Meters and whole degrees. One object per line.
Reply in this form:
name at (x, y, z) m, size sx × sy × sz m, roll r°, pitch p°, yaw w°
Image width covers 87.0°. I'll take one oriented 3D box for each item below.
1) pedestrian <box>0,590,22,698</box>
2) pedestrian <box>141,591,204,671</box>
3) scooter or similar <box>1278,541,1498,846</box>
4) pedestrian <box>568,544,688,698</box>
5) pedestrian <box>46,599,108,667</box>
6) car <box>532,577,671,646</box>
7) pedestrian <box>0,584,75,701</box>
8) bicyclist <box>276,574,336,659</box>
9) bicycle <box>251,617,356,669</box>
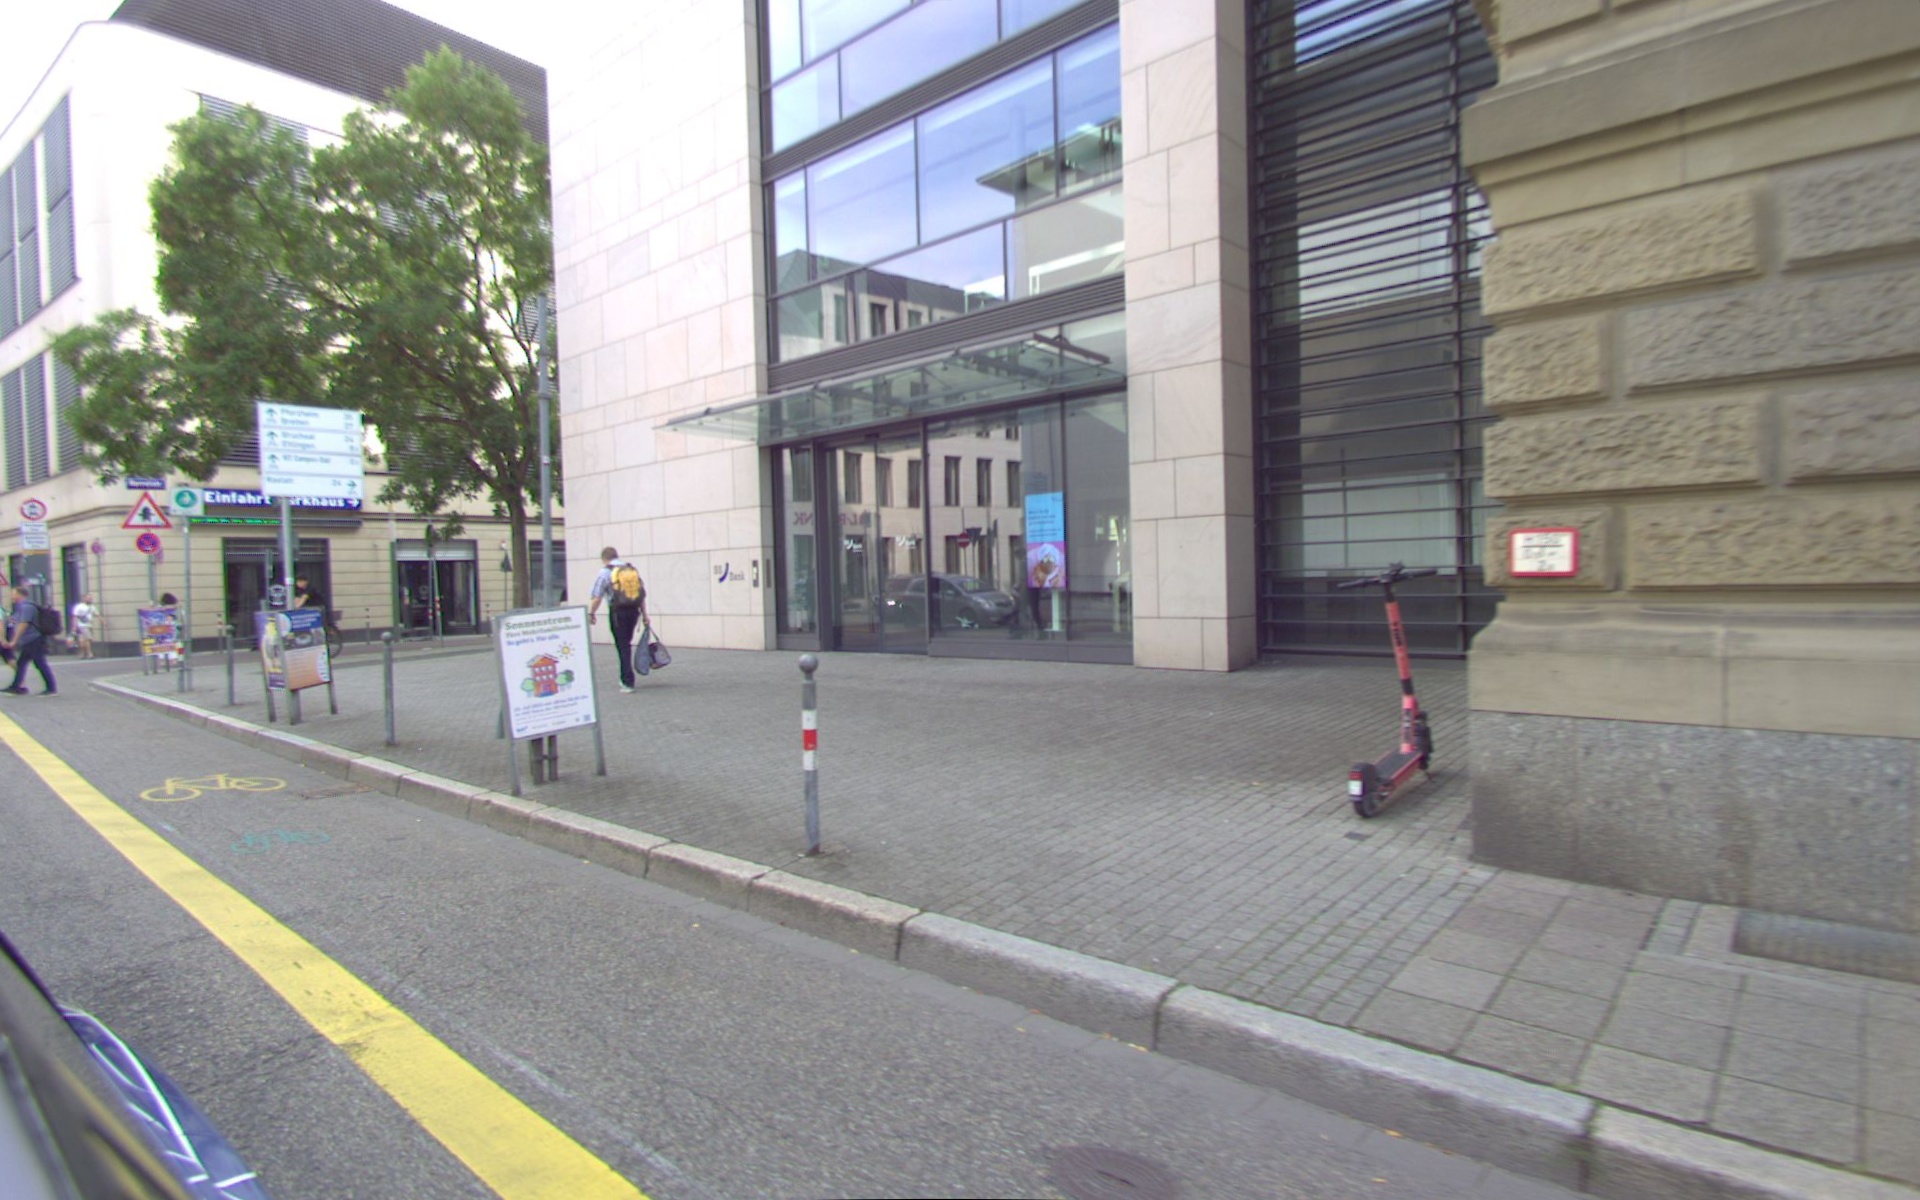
pedestrian at (-16.228, 0.735, 16.884) m, size 0.651 × 1.778 × 0.637 m, roll -1°, pitch 1°, yaw 30°
pedestrian at (-18.162, 0.692, 23.349) m, size 0.910 × 1.721 × 0.868 m, roll 0°, pitch 5°, yaw 41°
scooter or similar at (2.270, 0.399, 5.272) m, size 0.587 × 1.320 × 1.432 m, roll -2°, pitch 3°, yaw 41°
pedestrian at (-3.984, 0.222, 12.182) m, size 0.818 × 1.732 × 1.015 m, roll 0°, pitch 3°, yaw 42°
pedestrian at (-24.852, 0.920, 28.488) m, size 1.056 × 1.777 × 0.884 m, roll -1°, pitch 4°, yaw 30°
car at (-10.349, 0.350, 29.116) m, size 3.958 × 1.706 × 1.876 m, roll -4°, pitch -1°, yaw 38°
pedestrian at (-15.268, 0.680, 16.635) m, size 0.753 × 1.827 × 0.738 m, roll -1°, pitch 4°, yaw 30°
bicyclist at (-13.072, 0.318, 20.238) m, size 0.617 × 1.631 × 0.640 m, roll -3°, pitch 2°, yaw 17°
bicycle at (-13.068, 0.845, 20.206) m, size 0.596 × 0.840 × 1.716 m, roll -5°, pitch 2°, yaw 17°
